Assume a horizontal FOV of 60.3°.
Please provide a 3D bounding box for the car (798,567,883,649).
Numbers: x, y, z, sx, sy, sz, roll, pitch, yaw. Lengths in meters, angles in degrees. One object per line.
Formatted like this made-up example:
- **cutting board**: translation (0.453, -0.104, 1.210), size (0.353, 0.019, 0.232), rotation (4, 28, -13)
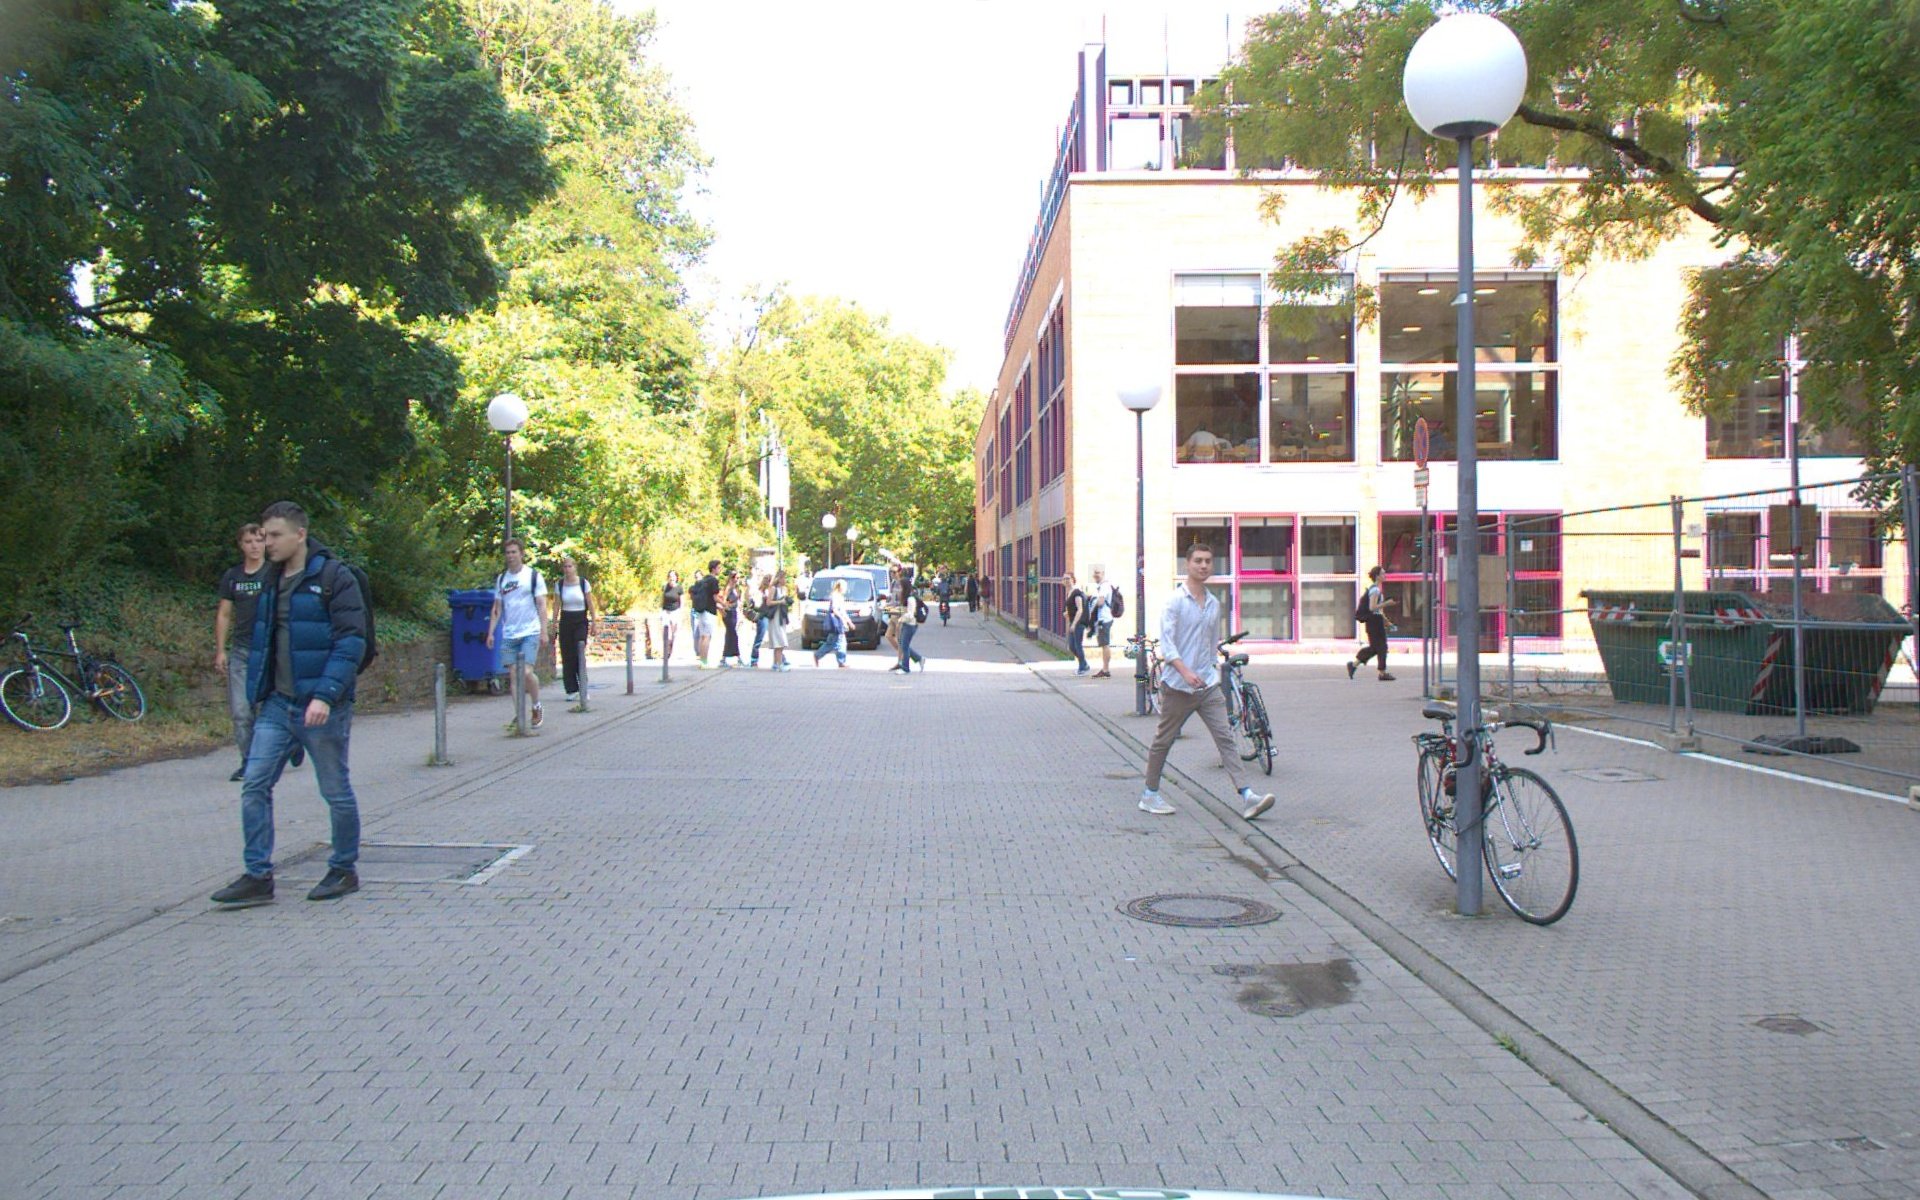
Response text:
- **car**: translation (-2.759, 0.150, 38.973), size (1.754, 1.792, 4.480), rotation (-1, 1, -1)

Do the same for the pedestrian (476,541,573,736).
- **pedestrian**: translation (-4.416, 0.380, 16.826), size (0.709, 1.914, 1.082), rotation (0, -1, -2)

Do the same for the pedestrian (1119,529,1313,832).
- **pedestrian**: translation (1.674, 0.495, 10.937), size (0.773, 1.877, 1.109), rotation (1, 0, -25)

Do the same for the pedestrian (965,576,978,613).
- **pedestrian**: translation (0.540, -0.274, 77.209), size (0.574, 1.702, 0.817), rotation (-2, -1, 0)

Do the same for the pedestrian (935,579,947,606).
- **pedestrian**: translation (-1.196, -0.452, 105.382), size (0.710, 1.702, 0.748), rotation (-2, -1, 0)

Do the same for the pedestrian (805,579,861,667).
- **pedestrian**: translation (-2.306, 0.408, 30.105), size (0.867, 1.569, 0.743), rotation (-1, 0, 6)

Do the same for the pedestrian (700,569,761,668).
- **pedestrian**: translation (-4.068, 0.319, 29.322), size (0.867, 1.701, 0.644), rotation (-2, 1, 6)

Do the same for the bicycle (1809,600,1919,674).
- **bicycle**: translation (14.241, 0.579, 25.881), size (1.659, 1.129, 0.474), rotation (1, 0, 2)

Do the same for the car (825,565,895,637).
- **car**: translation (-2.909, -0.013, 48.913), size (1.845, 2.008, 5.213), rotation (0, 1, -1)

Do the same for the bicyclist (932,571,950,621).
- **bicyclist**: translation (-0.655, -0.138, 57.881), size (0.575, 1.746, 0.665), rotation (0, 0, -5)

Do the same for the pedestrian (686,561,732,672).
- **pedestrian**: translation (-4.307, 0.279, 28.412), size (0.668, 1.876, 0.783), rotation (0, -1, -1)

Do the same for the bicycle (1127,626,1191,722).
- **bicycle**: translation (2.276, 0.827, 19.054), size (0.441, 0.978, 1.739), rotation (-3, 1, -2)

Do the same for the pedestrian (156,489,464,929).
- **pedestrian**: translation (-3.037, 0.462, 7.778), size (0.870, 1.890, 1.029), rotation (1, 0, 33)

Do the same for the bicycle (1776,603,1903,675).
- **bicycle**: translation (14.344, 0.631, 27.006), size (1.771, 1.129, 0.524), rotation (1, 0, 2)

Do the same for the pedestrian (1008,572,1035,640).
- **pedestrian**: translation (1.613, 0.166, 43.750), size (0.668, 1.778, 0.783), rotation (0, -1, -1)

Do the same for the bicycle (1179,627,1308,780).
- **bicycle**: translation (2.267, 0.800, 13.423), size (0.694, 1.112, 1.748), rotation (0, 0, -2)

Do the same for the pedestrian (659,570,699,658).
- **pedestrian**: translation (-5.340, 0.268, 31.459), size (0.669, 1.649, 0.977), rotation (0, 0, -6)

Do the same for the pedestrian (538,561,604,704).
- **pedestrian**: translation (-4.887, 0.400, 20.822), size (0.669, 1.758, 1.001), rotation (0, 0, -5)

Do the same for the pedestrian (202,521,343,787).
- **pedestrian**: translation (-5.150, 0.391, 12.448), size (0.669, 1.905, 1.119), rotation (0, 0, -6)

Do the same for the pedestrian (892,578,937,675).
- **pedestrian**: translation (-0.786, 0.452, 28.430), size (0.765, 1.649, 0.684), rotation (0, -1, -4)

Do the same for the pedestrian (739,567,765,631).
- **pedestrian**: translation (-6.123, -0.018, 48.806), size (0.668, 1.876, 0.783), rotation (0, -1, -1)

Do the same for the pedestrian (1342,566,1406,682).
- **pedestrian**: translation (6.079, 0.348, 24.307), size (0.834, 1.680, 0.588), rotation (0, -1, 6)

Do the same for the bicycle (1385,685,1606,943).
- **bicycle**: translation (2.451, 0.934, 7.744), size (0.387, 0.952, 1.731), rotation (-2, 1, -2)

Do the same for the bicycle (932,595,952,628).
- **bicycle**: translation (-0.642, 0.388, 57.769), size (0.575, 1.102, 1.906), rotation (0, 1, -4)

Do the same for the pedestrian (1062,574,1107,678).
- **pedestrian**: translation (2.082, 0.429, 27.559), size (0.682, 1.702, 0.588), rotation (-2, -1, 6)

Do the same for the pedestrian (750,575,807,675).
- **pedestrian**: translation (-3.144, 0.430, 28.651), size (0.867, 1.702, 0.559), rotation (0, -1, 6)

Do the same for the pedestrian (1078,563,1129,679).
- **pedestrian**: translation (2.329, 0.340, 26.795), size (0.750, 1.826, 0.588), rotation (-2, -1, 6)

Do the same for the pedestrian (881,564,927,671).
- **pedestrian**: translation (-0.998, 0.306, 29.374), size (0.809, 1.876, 0.684), rotation (0, -1, -4)

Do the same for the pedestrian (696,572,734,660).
- **pedestrian**: translation (-4.662, 0.300, 31.546), size (0.669, 1.649, 0.912), rotation (0, -1, -6)

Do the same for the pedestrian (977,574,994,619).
- **pedestrian**: translation (0.981, -0.117, 63.368), size (0.574, 1.702, 0.699), rotation (-2, -1, 0)

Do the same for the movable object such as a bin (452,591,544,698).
- **movable object such as a bin**: translation (-6.139, 0.569, 22.027), size (0.694, 1.359, 1.240), rotation (2, 0, 9)

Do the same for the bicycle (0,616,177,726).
- **bicycle**: translation (-7.844, 0.617, 14.908), size (0.412, 0.926, 1.741), rotation (0, -1, 14)
